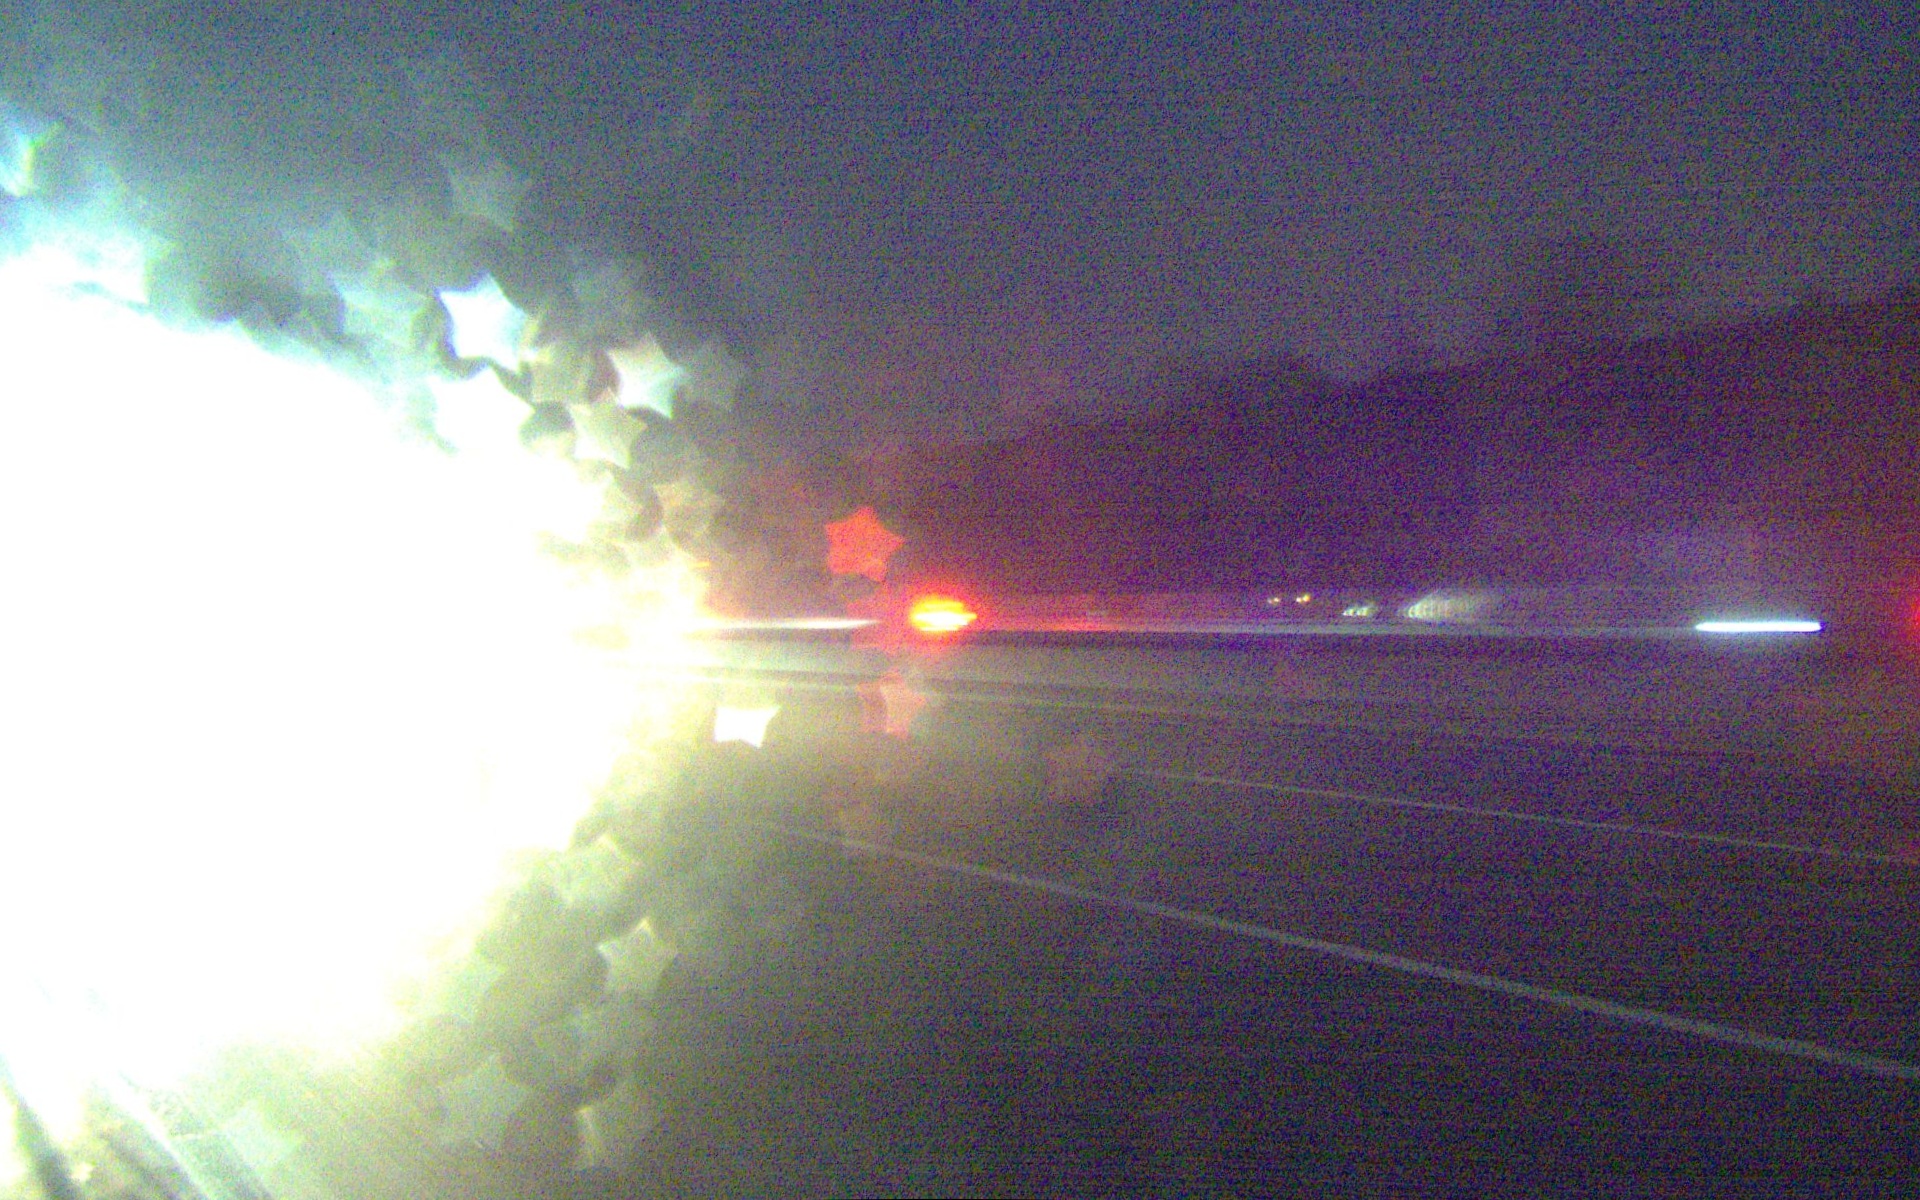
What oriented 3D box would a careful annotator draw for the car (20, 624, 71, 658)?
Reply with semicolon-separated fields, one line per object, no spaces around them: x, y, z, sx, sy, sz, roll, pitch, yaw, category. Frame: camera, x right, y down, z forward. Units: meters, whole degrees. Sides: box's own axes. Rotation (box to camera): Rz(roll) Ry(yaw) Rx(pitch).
-49.839;2.215;55.119;1.970;1.689;4.004;-1;0;-43;car

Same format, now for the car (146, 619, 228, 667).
-35.213;1.907;46.085;4.527;2.029;2.116;-1;0;41;car

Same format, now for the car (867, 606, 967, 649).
-1.828;1.111;42.372;1.756;1.608;4.226;-3;2;-45;car

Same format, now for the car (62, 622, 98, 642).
-76.635;2.760;88.131;2.277;1.621;3.875;-1;0;-43;car

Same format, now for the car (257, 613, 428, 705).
-12.380;1.075;20.177;4.234;1.606;1.895;-1;0;44;car

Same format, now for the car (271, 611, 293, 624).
-91.148;2.406;136.002;1.755;1.608;4.003;-3;1;-44;car

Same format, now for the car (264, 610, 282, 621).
-108.390;2.474;159.570;1.755;1.608;4.004;-3;1;-42;car

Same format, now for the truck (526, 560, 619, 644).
-24.790;0.154;64.681;6.028;5.106;3.228;-1;0;44;truck

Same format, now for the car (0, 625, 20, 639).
-86.610;2.890;92.017;1.669;1.165;3.423;-1;0;-44;car

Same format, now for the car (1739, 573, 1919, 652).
20.157;0.250;21.937;5.144;1.608;1.759;-1;2;38;car

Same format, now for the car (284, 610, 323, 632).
-52.115;1.652;80.335;4.001;1.608;1.756;-1;2;44;car

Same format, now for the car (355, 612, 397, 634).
-45.637;1.751;79.053;4.001;1.608;1.756;-1;2;44;car

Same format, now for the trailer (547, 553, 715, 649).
-19.814;0.089;59.970;13.973;5.106;3.228;-1;0;44;trailer

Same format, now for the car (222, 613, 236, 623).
-140.394;3.458;194.329;1.755;1.608;4.004;-3;1;-42;car
